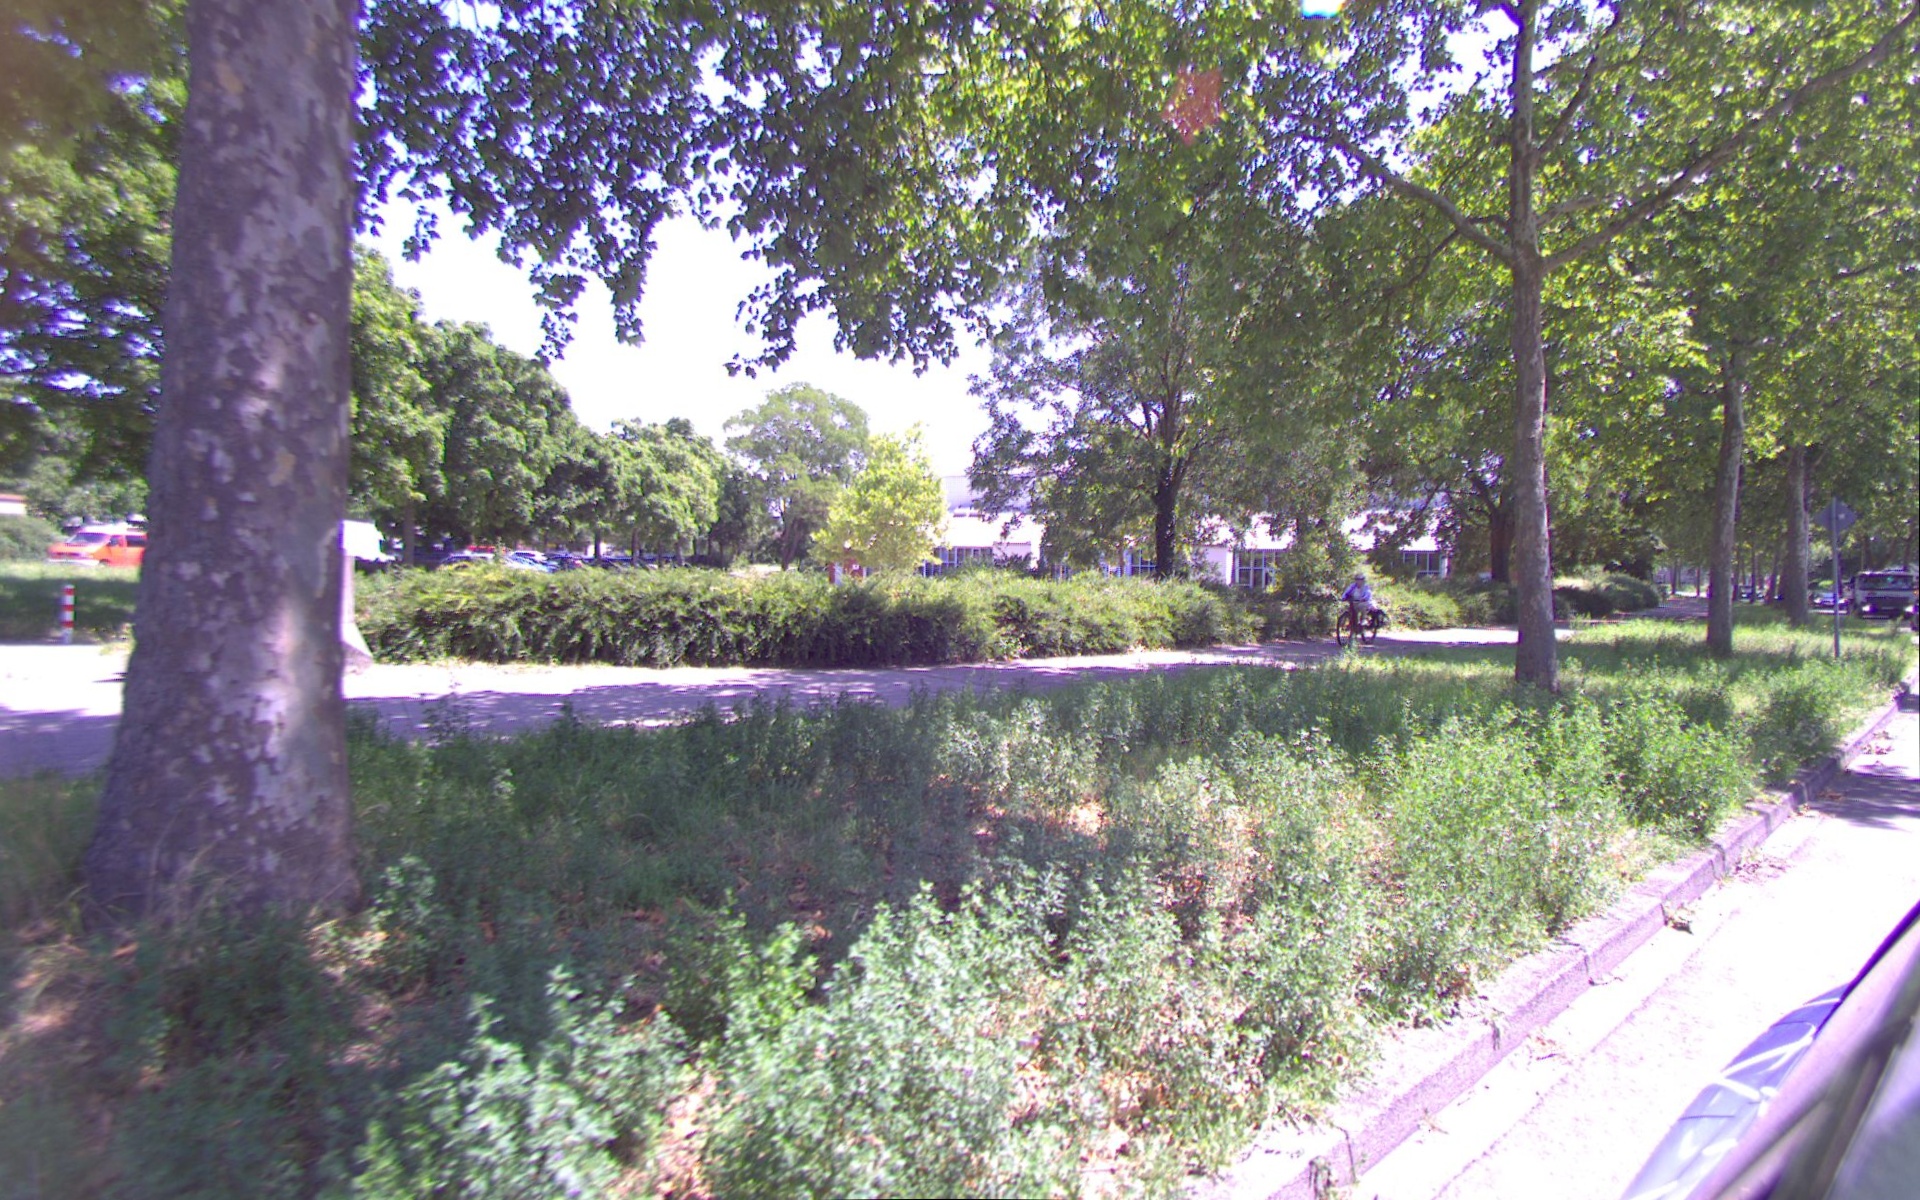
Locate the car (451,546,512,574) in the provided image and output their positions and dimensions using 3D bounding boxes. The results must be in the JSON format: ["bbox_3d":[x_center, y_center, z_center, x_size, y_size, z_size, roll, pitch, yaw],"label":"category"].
[{"bbox_3d":[-37.433,-3.142,79.256,3.918,2.038,1.971,1,1,-8],"label":"car"}]

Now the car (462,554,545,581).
[{"bbox_3d":[-22.843,-1.639,50.744,3.500,1.240,1.623,1,2,-10],"label":"car"}]

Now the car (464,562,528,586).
[{"bbox_3d":[-21.552,-1.226,47.081,2.546,1.049,0.955,1,1,-10],"label":"car"}]

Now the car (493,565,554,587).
[{"bbox_3d":[-20.996,-1.175,48.686,2.546,0.999,0.955,1,1,-10],"label":"car"}]

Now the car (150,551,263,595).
[{"bbox_3d":[-31.585,-1.154,42.580,1.918,1.739,4.075,1,2,-3],"label":"car"}]

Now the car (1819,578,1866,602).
[{"bbox_3d":[64.174,-0.777,73.661,1.986,1.638,3.953,2,2,33],"label":"car"}]

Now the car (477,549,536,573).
[{"bbox_3d":[-22.901,-1.949,51.135,2.546,1.141,1.009,1,1,-10],"label":"car"}]

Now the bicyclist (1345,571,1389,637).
[{"bbox_3d":[8.615,0.080,21.421,0.655,1.355,0.600,0,2,-43],"label":"bicyclist"}]

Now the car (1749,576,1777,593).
[{"bbox_3d":[88.741,-1.744,111.861,1.986,1.860,3.953,2,2,33],"label":"car"}]

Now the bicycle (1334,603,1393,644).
[{"bbox_3d":[8.531,0.477,21.370,1.640,0.773,0.464,-1,3,-42],"label":"bicycle"}]

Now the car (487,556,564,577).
[{"bbox_3d":[-22.987,-1.771,53.639,3.493,1.047,1.685,1,2,-10],"label":"car"}]

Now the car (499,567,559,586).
[{"bbox_3d":[-21.178,-1.161,49.793,2.546,0.852,0.955,1,1,-10],"label":"car"}]

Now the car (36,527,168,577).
[{"bbox_3d":[-37.200,-2.055,44.059,2.033,2.028,4.668,1,2,-4],"label":"car"}]

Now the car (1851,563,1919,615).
[{"bbox_3d":[51.463,-0.625,55.757,2.903,2.687,6.285,2,2,36],"label":"car"}]

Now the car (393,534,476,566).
[{"bbox_3d":[-34.828,-3.288,67.182,4.332,2.038,2.250,1,1,-7],"label":"car"}]

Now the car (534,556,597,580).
[{"bbox_3d":[-24.333,-1.980,62.456,3.356,1.382,1.721,1,2,-10],"label":"car"}]

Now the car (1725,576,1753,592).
[{"bbox_3d":[95.121,-2.023,123.593,1.981,1.860,3.963,2,2,27],"label":"car"}]

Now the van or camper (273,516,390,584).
[{"bbox_3d":[-27.624,-2.165,44.701,2.160,2.785,5.134,1,2,-3],"label":"van or camper"}]
